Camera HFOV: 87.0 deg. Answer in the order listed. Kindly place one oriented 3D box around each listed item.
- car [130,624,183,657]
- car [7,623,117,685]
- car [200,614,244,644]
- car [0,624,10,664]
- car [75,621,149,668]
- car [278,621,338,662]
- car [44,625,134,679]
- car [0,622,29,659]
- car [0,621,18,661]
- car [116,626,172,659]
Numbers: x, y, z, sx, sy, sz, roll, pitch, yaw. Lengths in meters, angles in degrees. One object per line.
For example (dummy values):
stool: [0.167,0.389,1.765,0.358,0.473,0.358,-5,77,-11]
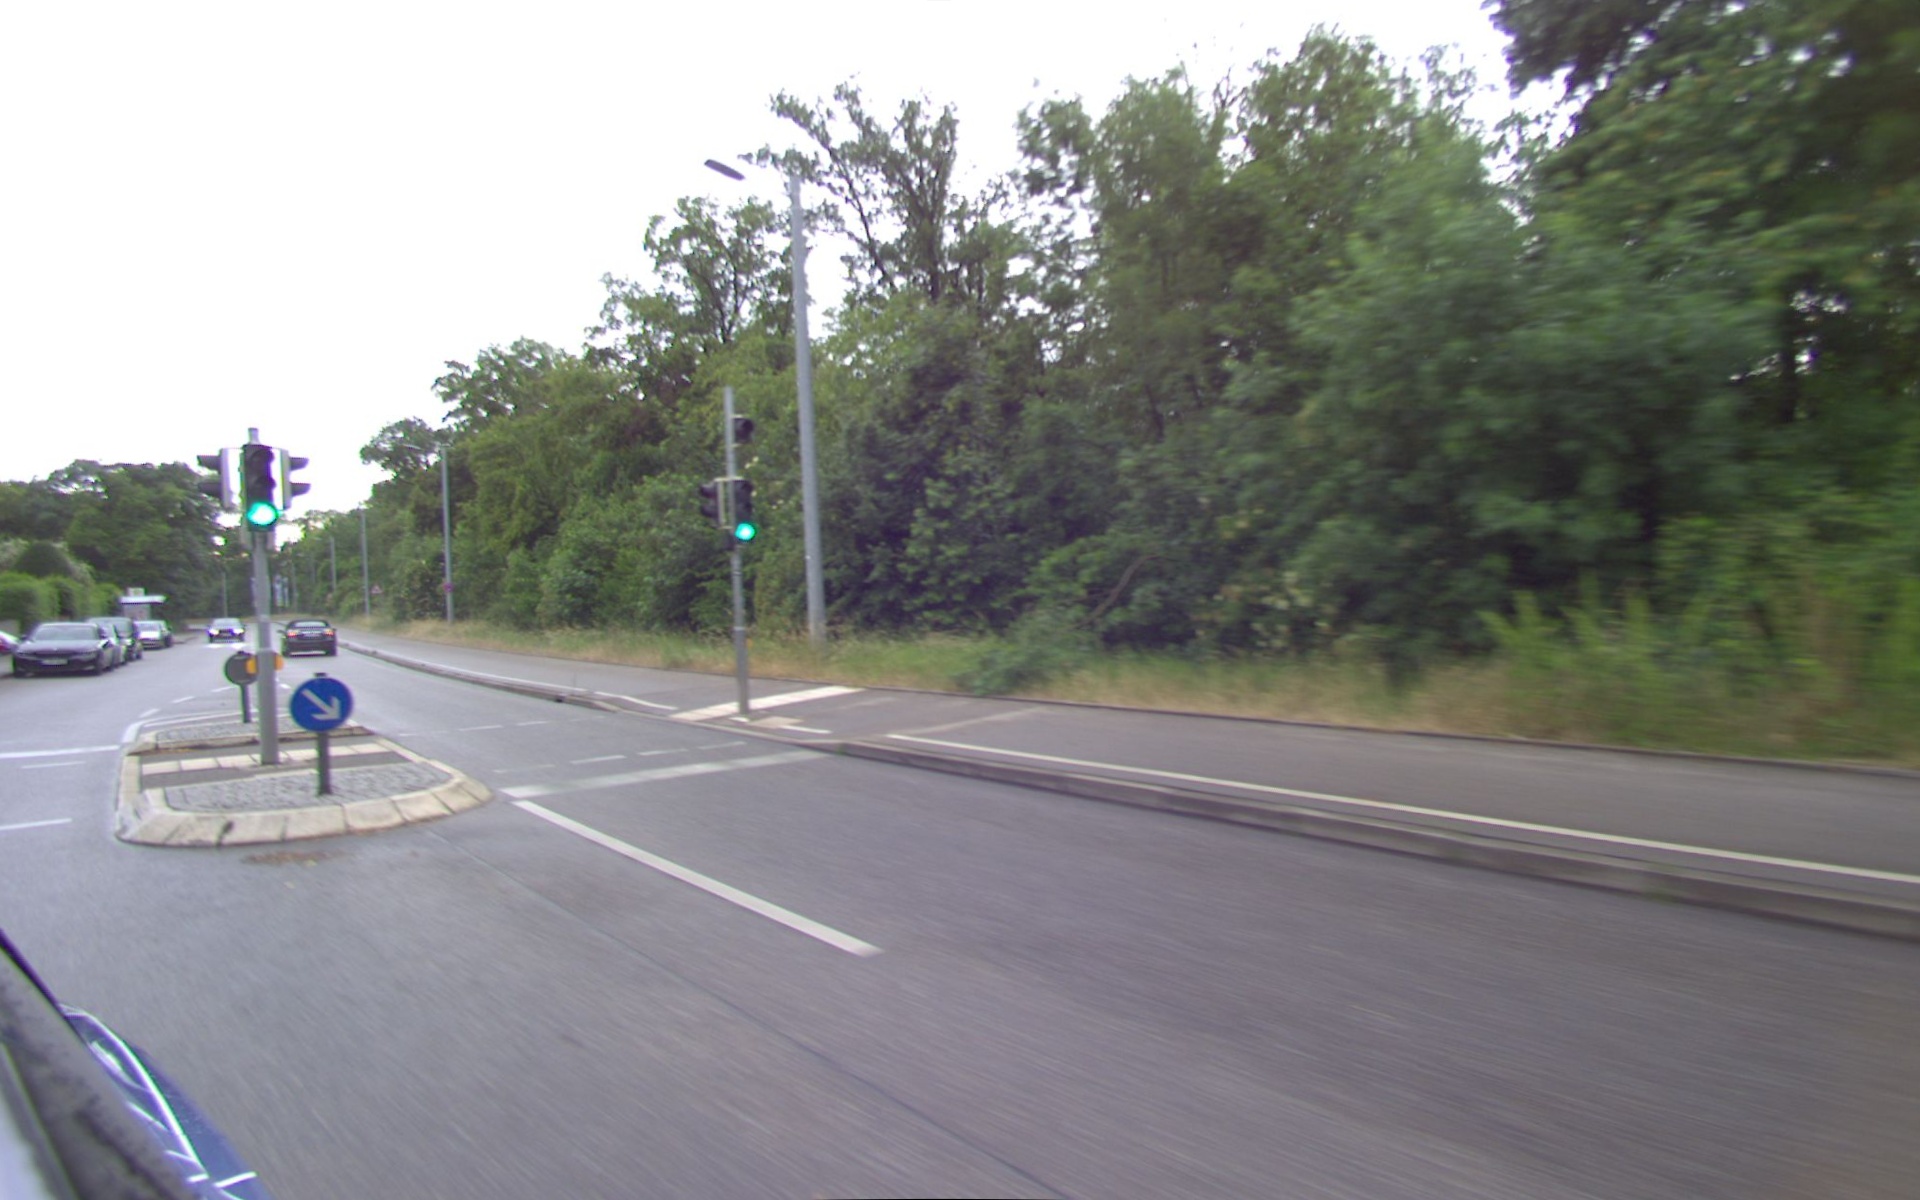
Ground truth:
car: [-43.241,2.129,54.562,1.805,1.559,4.642,-1,1,-33]
car: [-24.831,1.431,28.123,1.728,1.454,4.612,-1,0,-35]
car: [-45.279,1.778,62.169,1.966,1.737,4.011,0,-1,-33]
car: [-38.306,1.695,37.571,4.189,1.471,1.887,-1,1,-35]
car: [-31.377,1.607,37.542,1.707,1.580,4.533,0,-1,-35]
car: [-25.606,1.584,39.681,1.720,1.471,4.424,-1,0,-36]
car: [-27.884,1.605,32.519,1.769,1.498,4.506,-1,1,-36]
car: [-41.069,1.646,41.840,3.610,1.548,1.832,3,-3,-38]
car: [-39.307,1.587,39.406,3.609,1.578,1.887,1,-1,-35]
car: [-40.391,2.063,50.160,1.788,1.408,4.113,-1,1,-34]
